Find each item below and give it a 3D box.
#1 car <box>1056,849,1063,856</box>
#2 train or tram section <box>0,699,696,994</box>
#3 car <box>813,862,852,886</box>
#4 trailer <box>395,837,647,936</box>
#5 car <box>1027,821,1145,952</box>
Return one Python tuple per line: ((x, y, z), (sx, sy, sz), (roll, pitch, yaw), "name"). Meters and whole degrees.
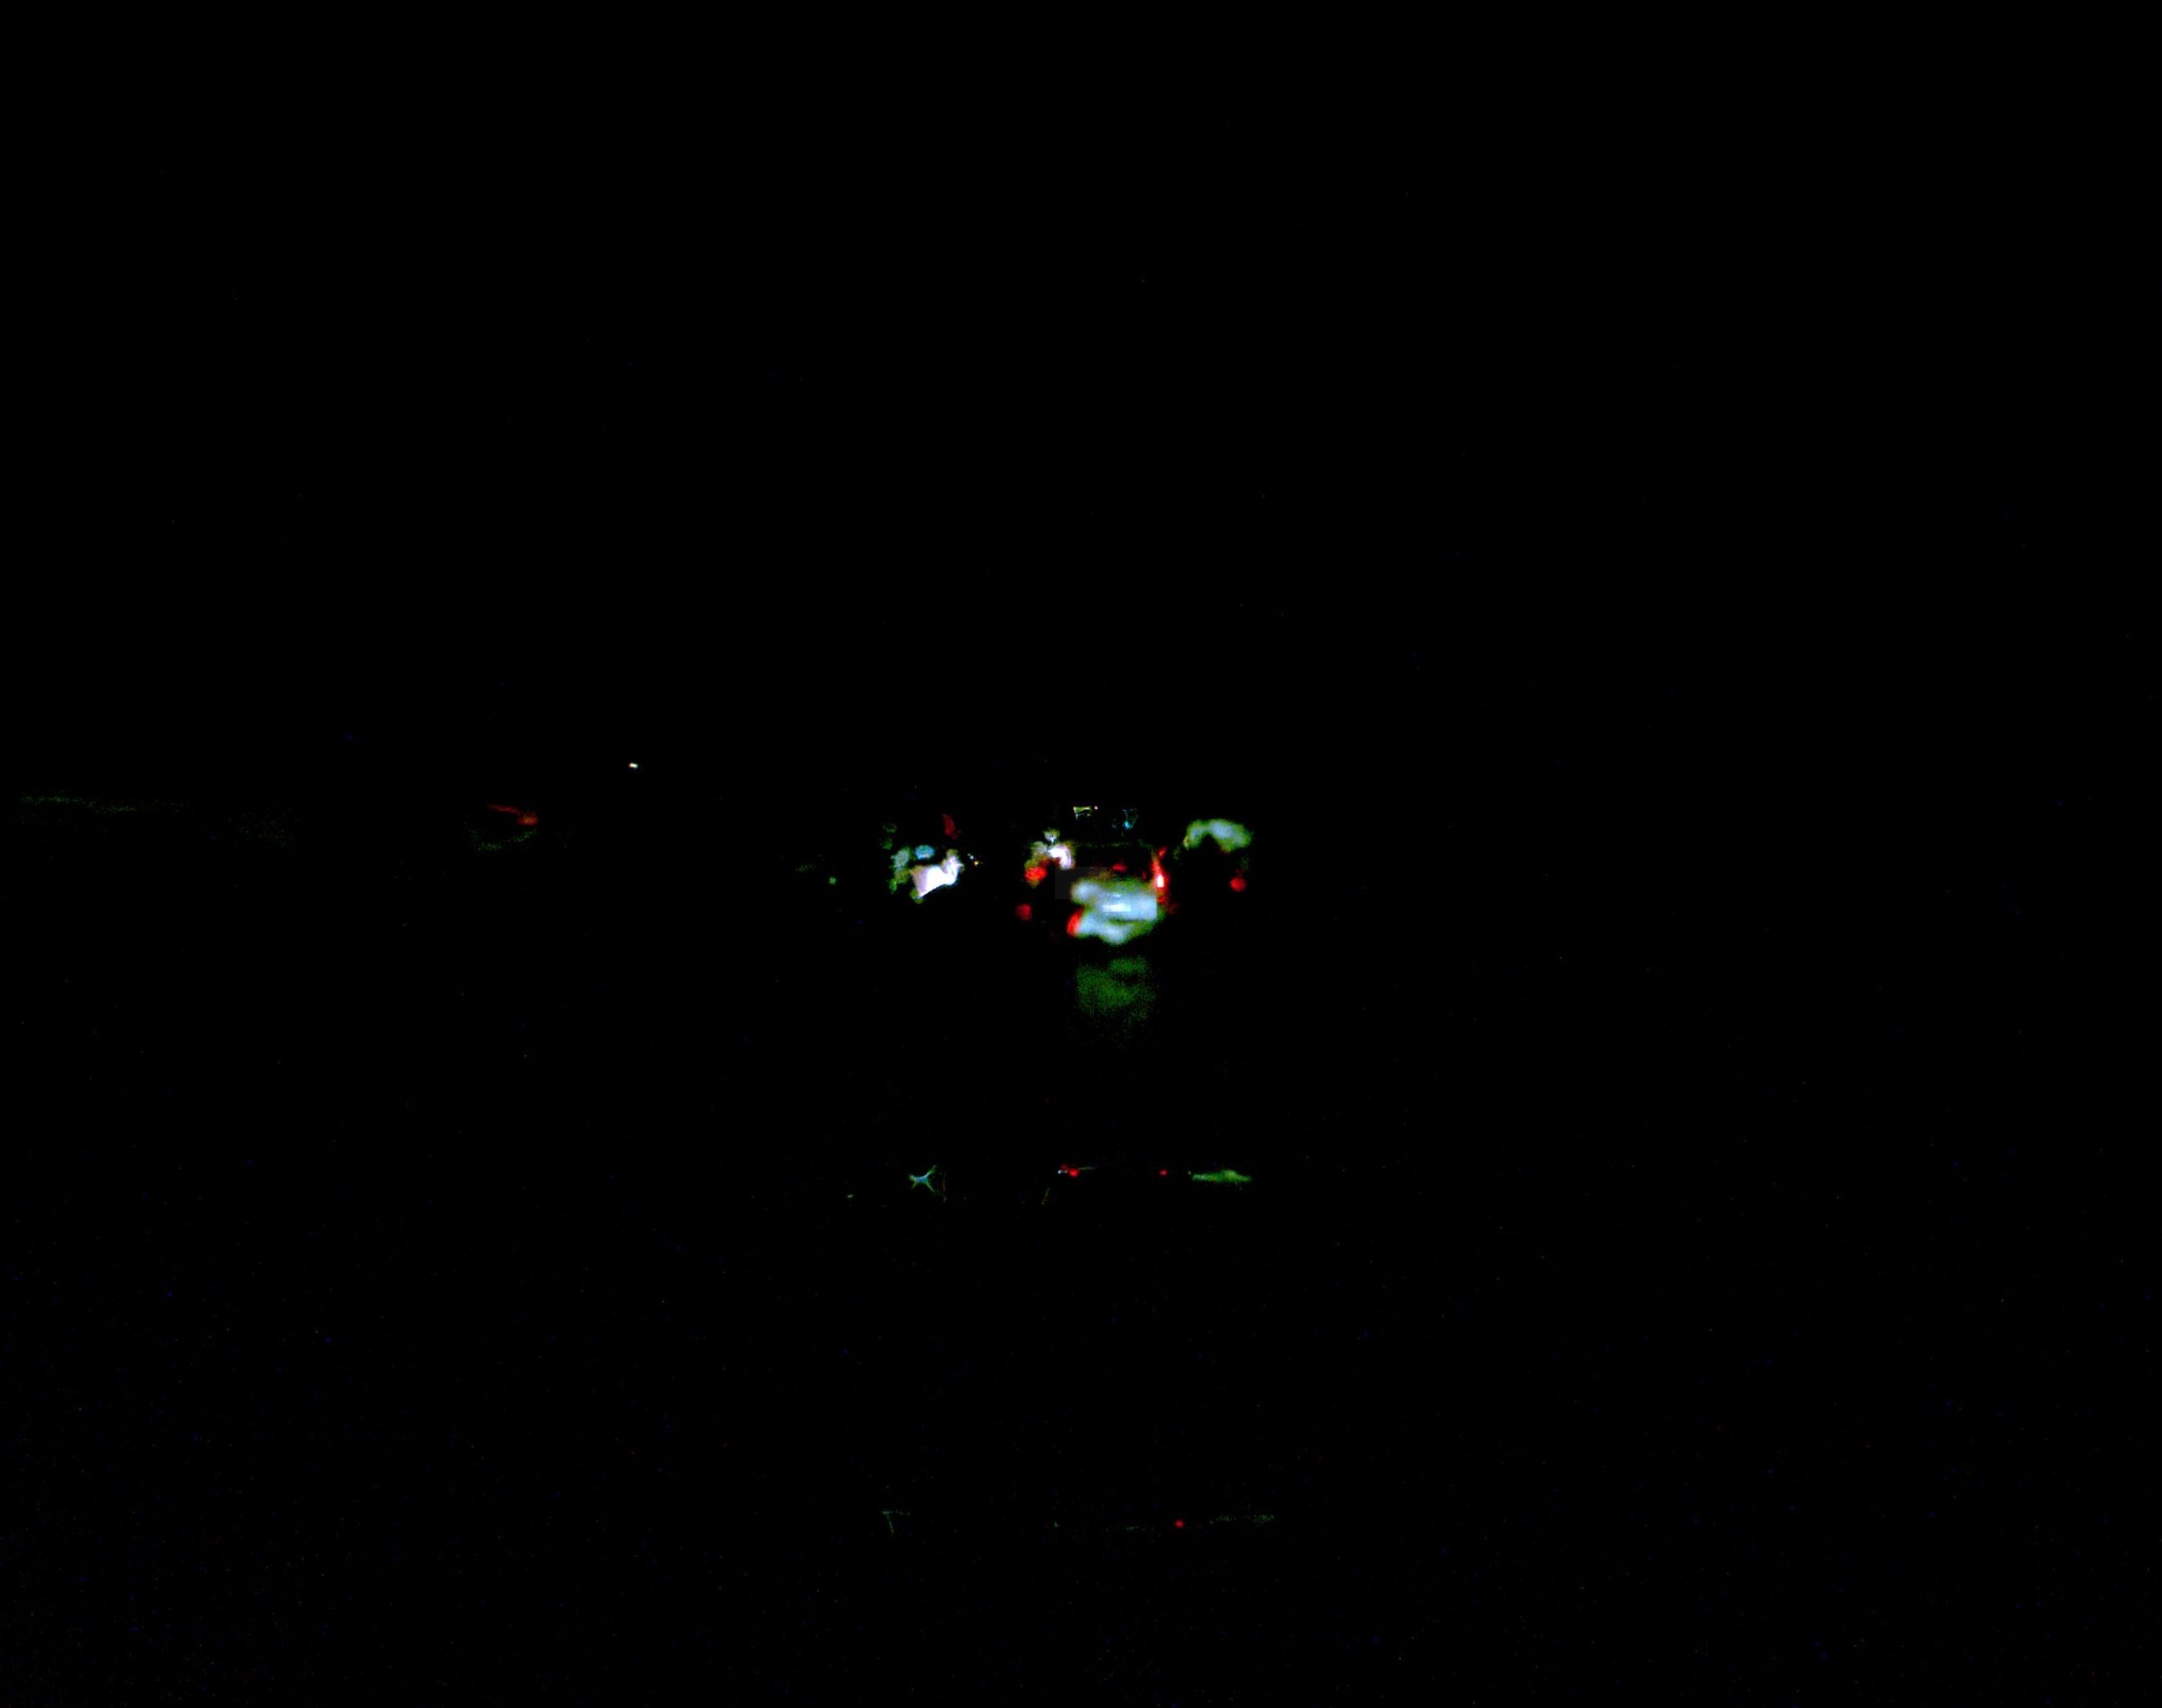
((-5.976, -0.406, 222.012), (1.797, 1.588, 4.028), (-3, 0, -1), "car")
((-15.328, -0.091, 10.017), (2.686, 3.815, 37.155), (0, -1, 1), "train or tram section")
((-20.372, 1.616, 66.908), (1.780, 1.693, 4.218), (-2, 1, 0), "car")
((-30.160, 1.624, 45.481), (3.957, 4.610, 14.249), (0, -1, 1), "trailer")
((0.090, 0.513, 15.616), (1.786, 2.021, 4.579), (-4, 0, 0), "car")
